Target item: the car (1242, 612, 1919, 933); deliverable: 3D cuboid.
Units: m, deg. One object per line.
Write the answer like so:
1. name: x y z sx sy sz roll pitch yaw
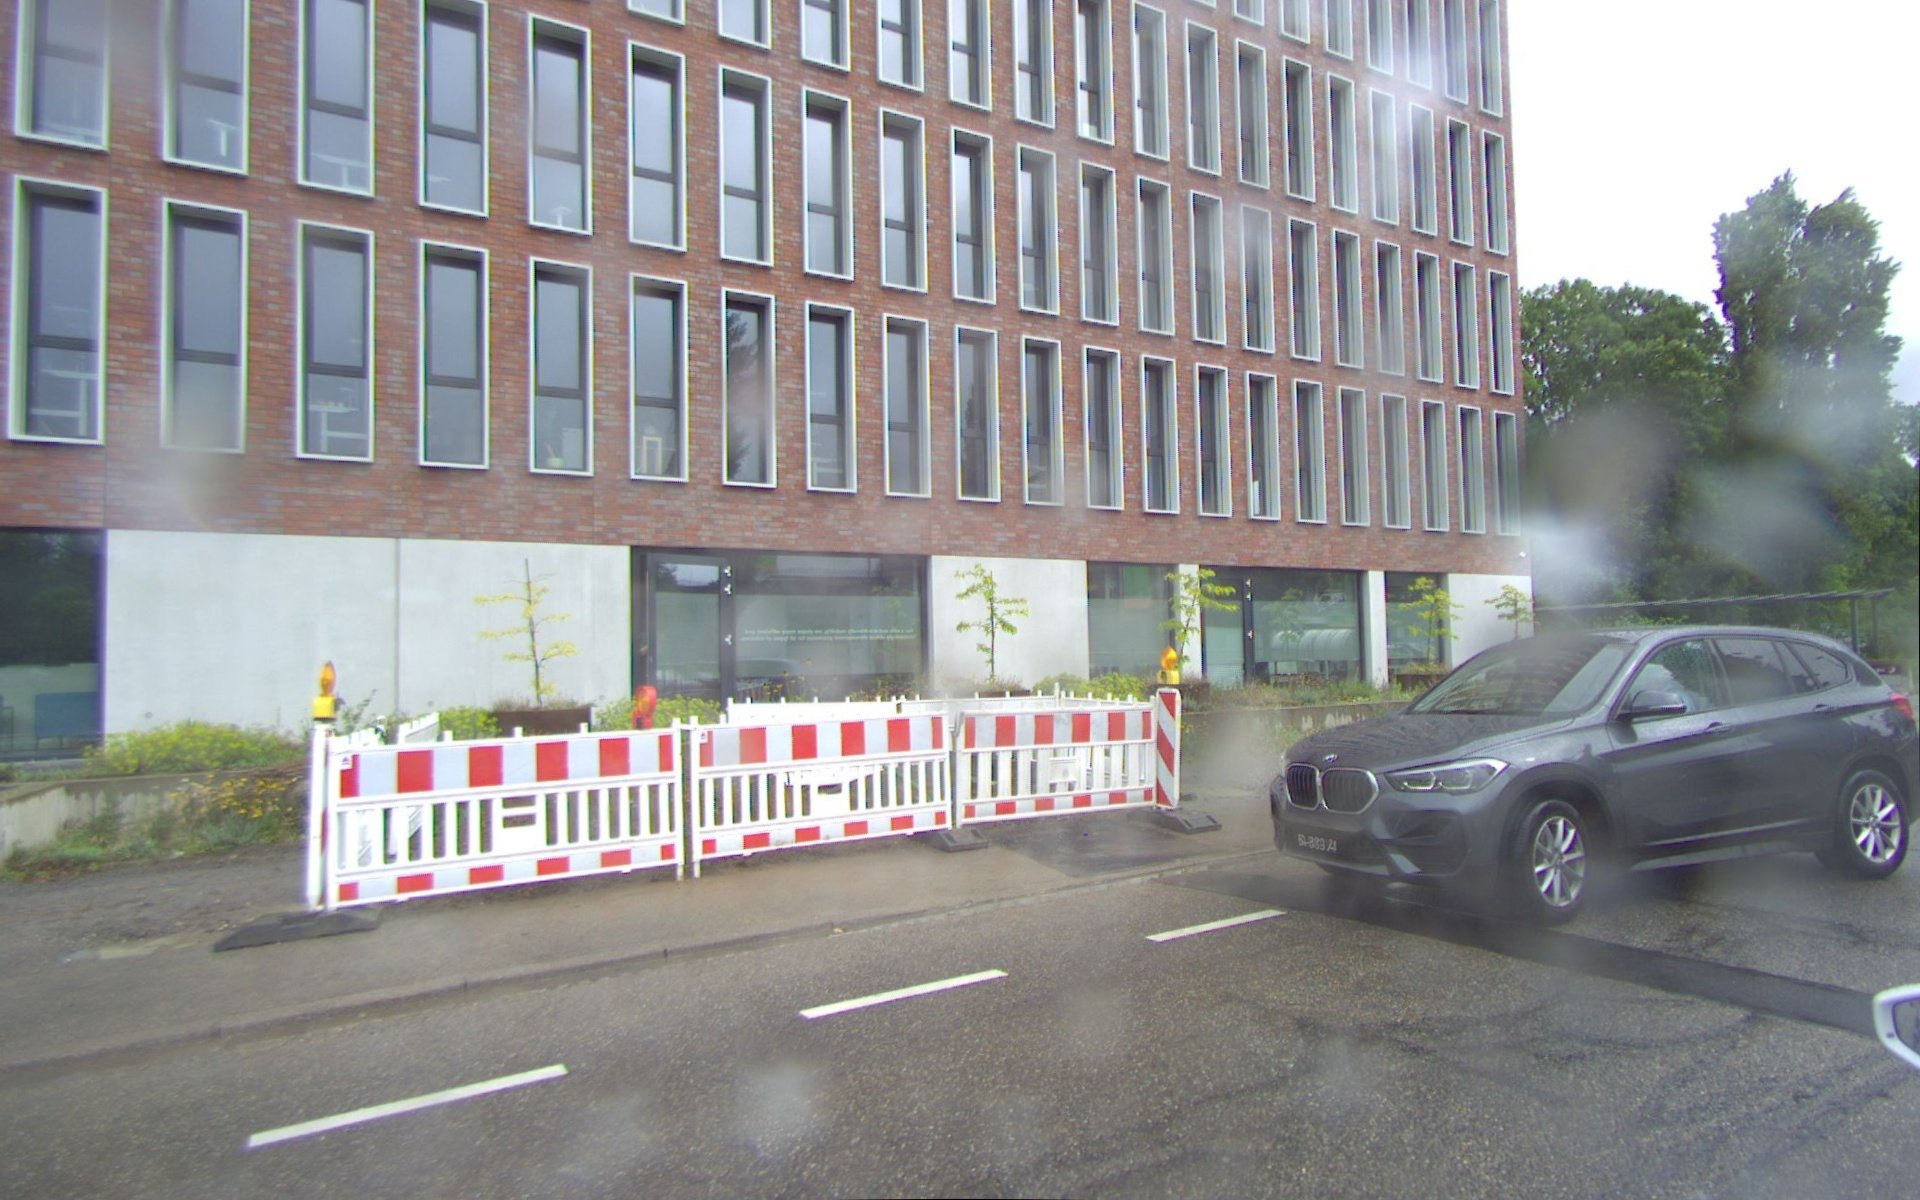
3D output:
1. car: 4.161 0.968 6.626 4.083 1.588 1.760 0 -5 -18
